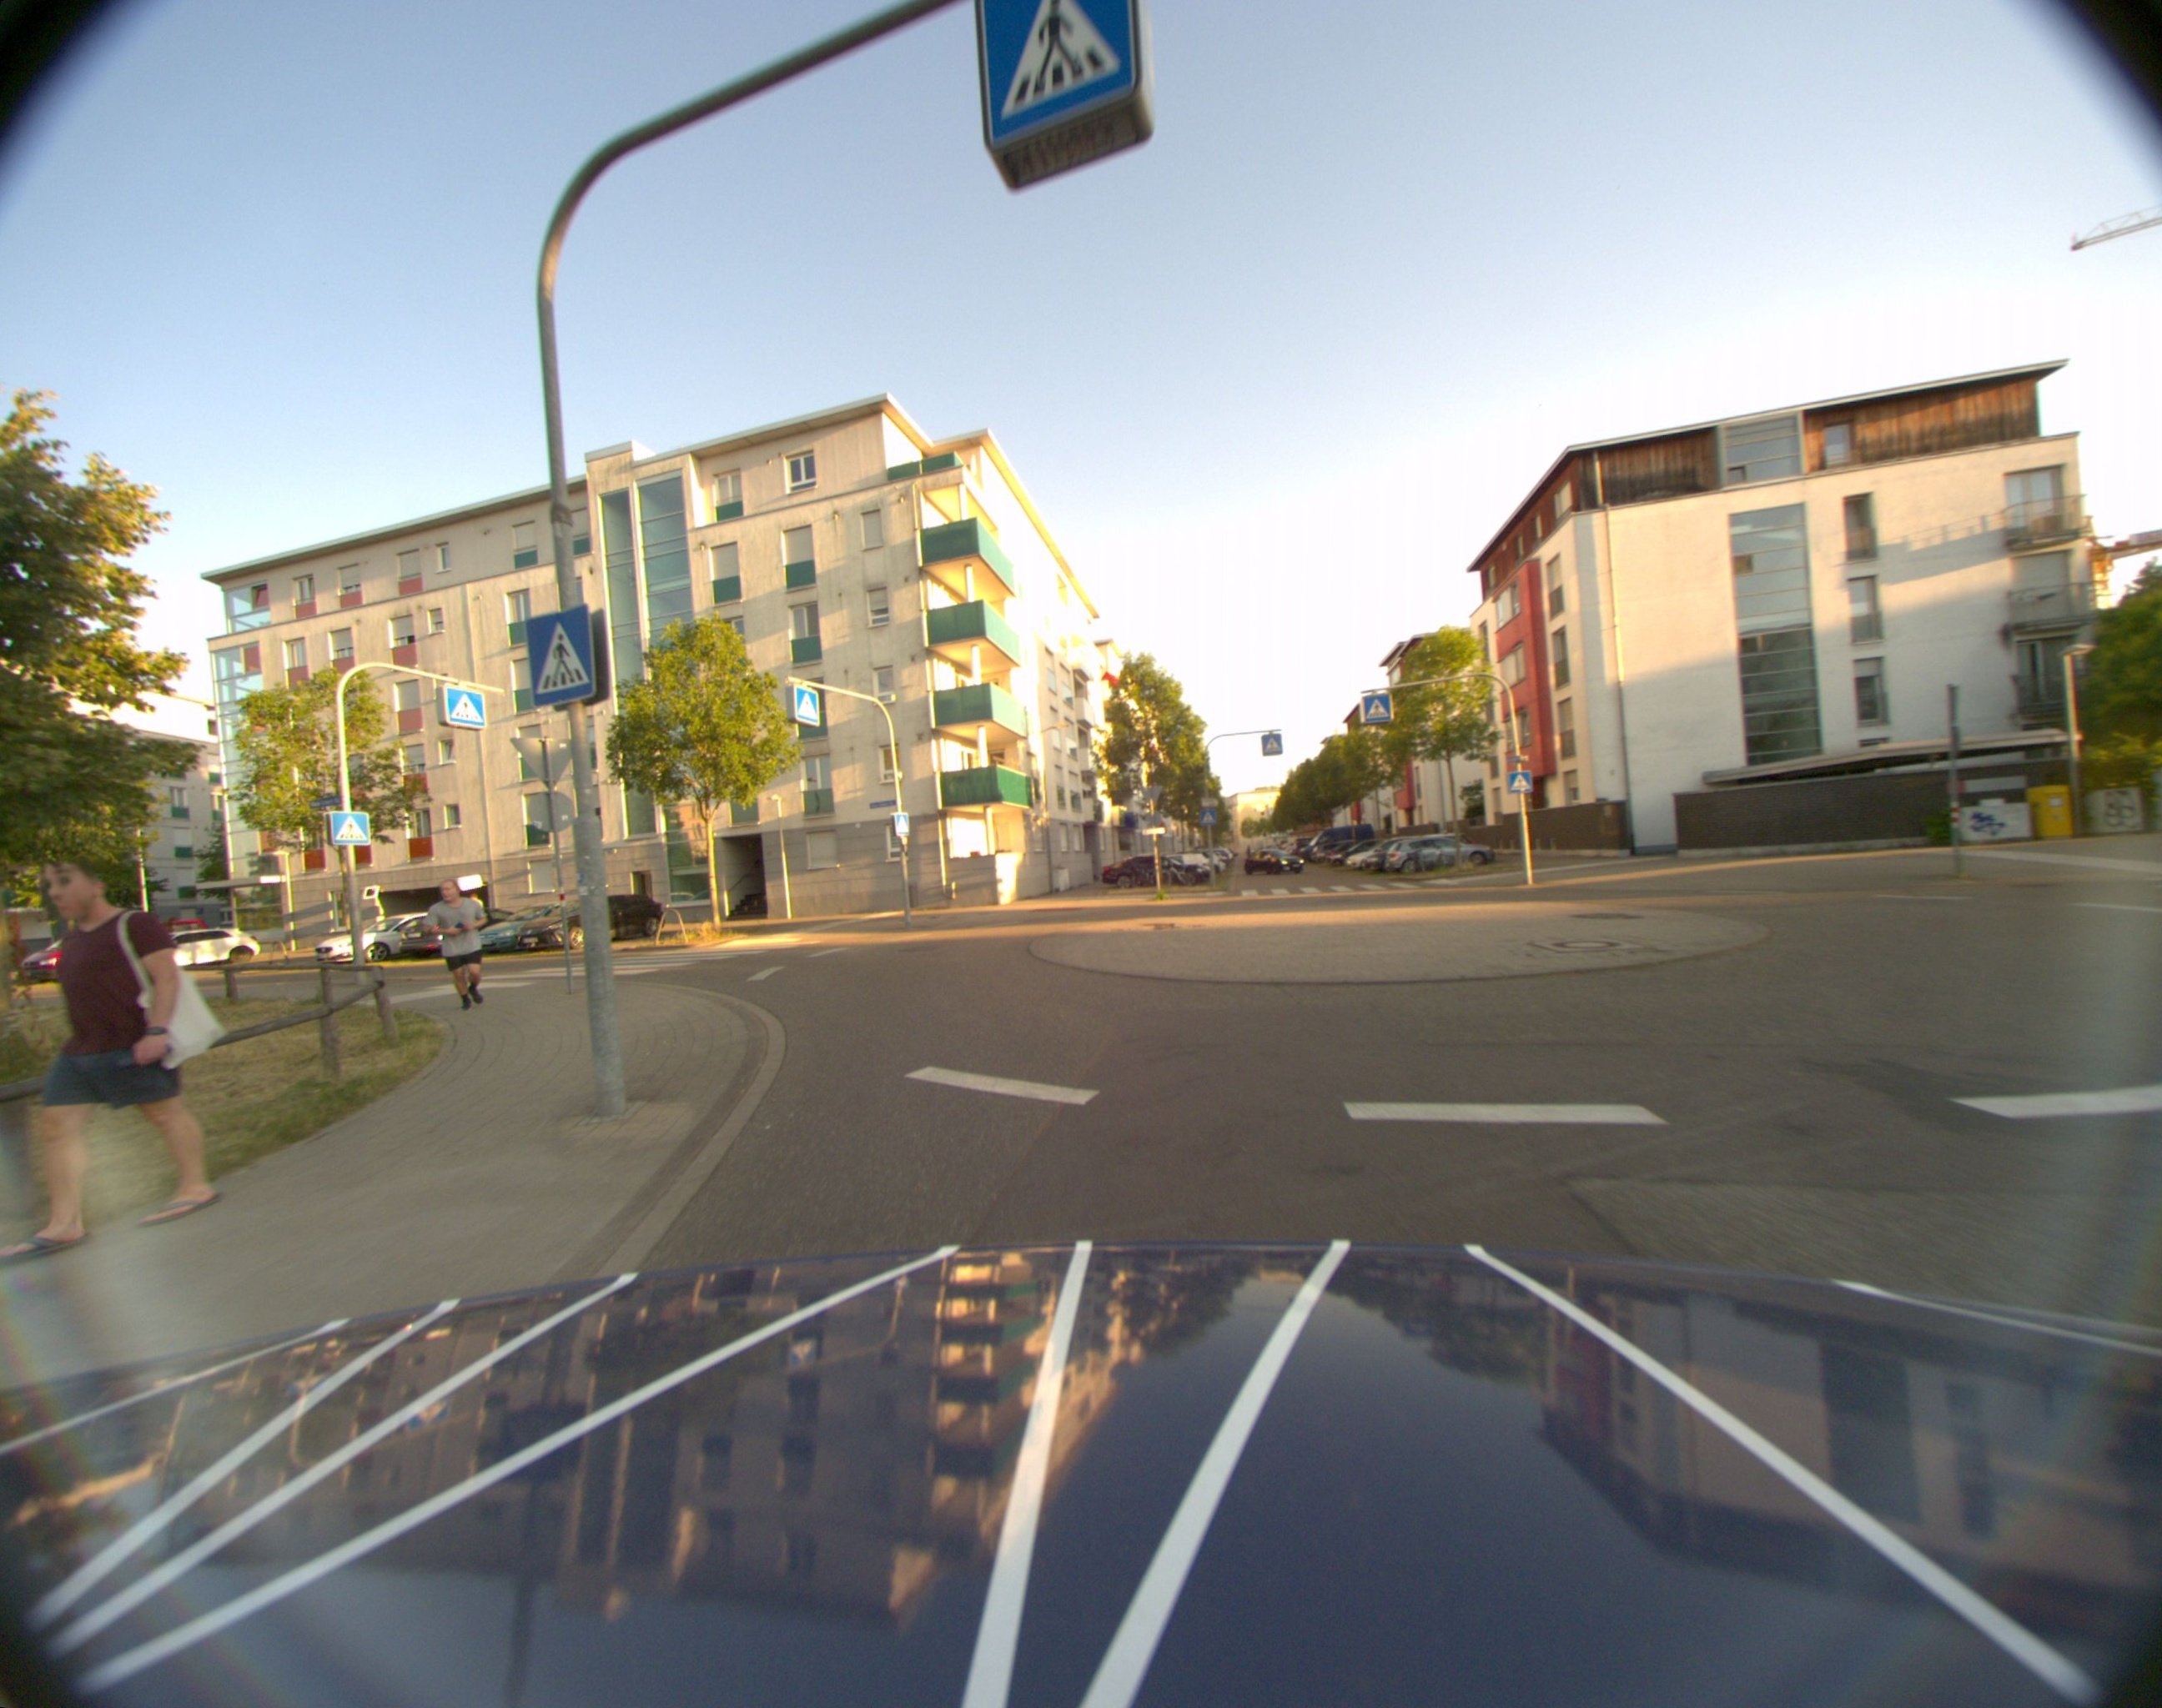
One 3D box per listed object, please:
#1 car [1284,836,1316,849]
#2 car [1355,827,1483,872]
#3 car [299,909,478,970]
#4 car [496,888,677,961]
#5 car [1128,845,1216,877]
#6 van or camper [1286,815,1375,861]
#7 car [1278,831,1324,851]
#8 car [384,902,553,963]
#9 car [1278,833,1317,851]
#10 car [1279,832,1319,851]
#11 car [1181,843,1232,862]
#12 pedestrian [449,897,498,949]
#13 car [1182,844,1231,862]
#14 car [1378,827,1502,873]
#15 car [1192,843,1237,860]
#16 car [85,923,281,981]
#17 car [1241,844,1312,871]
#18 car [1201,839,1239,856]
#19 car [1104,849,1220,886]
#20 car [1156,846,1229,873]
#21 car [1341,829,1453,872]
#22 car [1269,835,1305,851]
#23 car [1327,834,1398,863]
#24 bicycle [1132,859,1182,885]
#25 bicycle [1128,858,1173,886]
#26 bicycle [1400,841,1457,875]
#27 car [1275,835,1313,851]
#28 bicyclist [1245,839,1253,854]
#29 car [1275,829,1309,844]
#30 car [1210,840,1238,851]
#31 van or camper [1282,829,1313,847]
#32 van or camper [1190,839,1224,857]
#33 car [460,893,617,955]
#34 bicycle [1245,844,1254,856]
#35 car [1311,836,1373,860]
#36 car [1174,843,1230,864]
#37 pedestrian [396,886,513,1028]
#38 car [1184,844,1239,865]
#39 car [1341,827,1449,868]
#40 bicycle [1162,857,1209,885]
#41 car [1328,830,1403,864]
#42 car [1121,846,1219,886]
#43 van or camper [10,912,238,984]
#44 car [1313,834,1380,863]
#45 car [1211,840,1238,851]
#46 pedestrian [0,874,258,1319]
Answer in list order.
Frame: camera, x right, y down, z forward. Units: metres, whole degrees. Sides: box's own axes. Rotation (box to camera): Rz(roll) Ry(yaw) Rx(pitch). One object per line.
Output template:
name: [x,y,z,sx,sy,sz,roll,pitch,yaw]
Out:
car: [31.027,-1.628,107.947,4.247,1.776,1.694,-2,1,13]
car: [15.186,-0.187,34.355,4.912,1.469,1.712,-6,0,10]
car: [-22.802,2.766,25.256,1.698,1.471,4.060,-5,0,14]
car: [-14.971,2.082,23.367,1.830,1.479,4.483,-5,2,14]
car: [4.715,0.354,39.186,4.289,1.485,1.744,-2,1,11]
van or camper: [20.258,-1.293,61.914,6.310,3.069,2.444,-5,0,8]
car: [22.288,-1.299,77.033,4.247,1.919,1.694,-2,1,11]
car: [-20.077,2.536,25.155,1.698,1.471,4.060,-5,0,14]
car: [25.298,-1.413,88.783,4.247,1.991,1.694,-2,1,11]
car: [24.852,-1.415,86.681,4.247,1.919,1.694,-2,1,11]
car: [10.906,-0.099,66.286,4.248,1.500,1.753,-2,1,8]
pedestrian: [-23.962,2.723,29.986,1.048,1.883,0.981,-5,0,15]
car: [11.586,-0.089,69.945,4.247,1.527,1.694,-2,1,13]
car: [14.916,-0.168,31.789,4.288,1.449,1.682,-5,0,10]
car: [13.326,-0.299,75.659,4.247,1.527,1.694,-2,1,13]
car: [-34.161,3.683,29.113,1.698,1.512,4.471,-5,0,14]
car: [11.329,0.231,44.289,1.780,1.454,4.170,-2,0,-24]
car: [16.290,-0.763,89.136,4.247,1.768,1.694,-2,1,13]
car: [3.658,0.594,33.919,4.882,1.449,1.939,-2,1,14]
car: [6.795,0.319,46.340,4.290,1.499,1.687,-2,1,9]
car: [15.358,-0.179,37.167,4.781,1.546,1.712,-7,0,16]
car: [25.862,-1.362,95.608,4.247,1.776,1.694,-2,1,11]
car: [18.085,-0.358,48.988,3.916,1.506,1.725,-5,0,8]
bicycle: [3.223,0.751,32.076,2.032,1.040,0.474,-2,0,8]
bicycle: [2.846,0.731,31.003,1.791,1.036,0.567,-2,0,8]
bicycle: [13.393,0.152,29.321,1.820,1.060,0.567,-8,-1,10]
car: [25.585,-1.322,91.453,4.247,1.776,1.694,-2,1,11]
bicyclist: [18.775,-0.874,84.799,0.766,1.618,0.663,-5,0,11]
car: [28.525,-2.380,102.735,4.247,1.776,1.694,-2,1,13]
car: [23.157,-1.390,122.876,4.247,1.629,1.694,-2,1,13]
van or camper: [32.069,-2.376,112.658,4.247,2.520,1.762,-2,1,13]
van or camper: [16.321,-0.820,98.532,4.247,2.198,1.694,-2,1,12]
car: [-17.624,2.220,24.932,1.557,1.366,4.008,-5,2,14]
bicycle: [18.808,-0.441,84.801,0.771,1.259,1.783,-5,0,11]
car: [19.457,-0.437,56.817,4.098,1.616,1.725,-2,1,8]
car: [9.228,-0.033,58.070,4.098,1.500,1.667,-2,1,8]
pedestrian: [-8.162,1.319,9.924,0.800,1.719,0.768,-5,0,20]
car: [10.400,0.046,60.941,4.248,1.500,1.753,-2,1,8]
car: [16.248,-0.317,39.515,4.756,1.575,1.760,-6,0,8]
bicycle: [4.313,0.693,31.371,1.838,1.066,0.474,-2,0,8]
car: [17.441,-0.447,46.740,3.916,1.700,1.725,-5,0,8]
car: [4.317,0.568,36.711,4.408,1.499,1.744,-5,0,15]
van or camper: [-37.088,3.587,29.710,1.875,2.048,5.136,-5,0,13]
car: [18.696,-0.401,53.629,4.099,1.616,1.725,-5,0,8]
car: [23.844,-1.462,126.269,4.247,1.606,1.694,-2,1,13]
pedestrian: [-4.691,1.020,3.541,0.733,1.774,0.802,-5,0,13]
